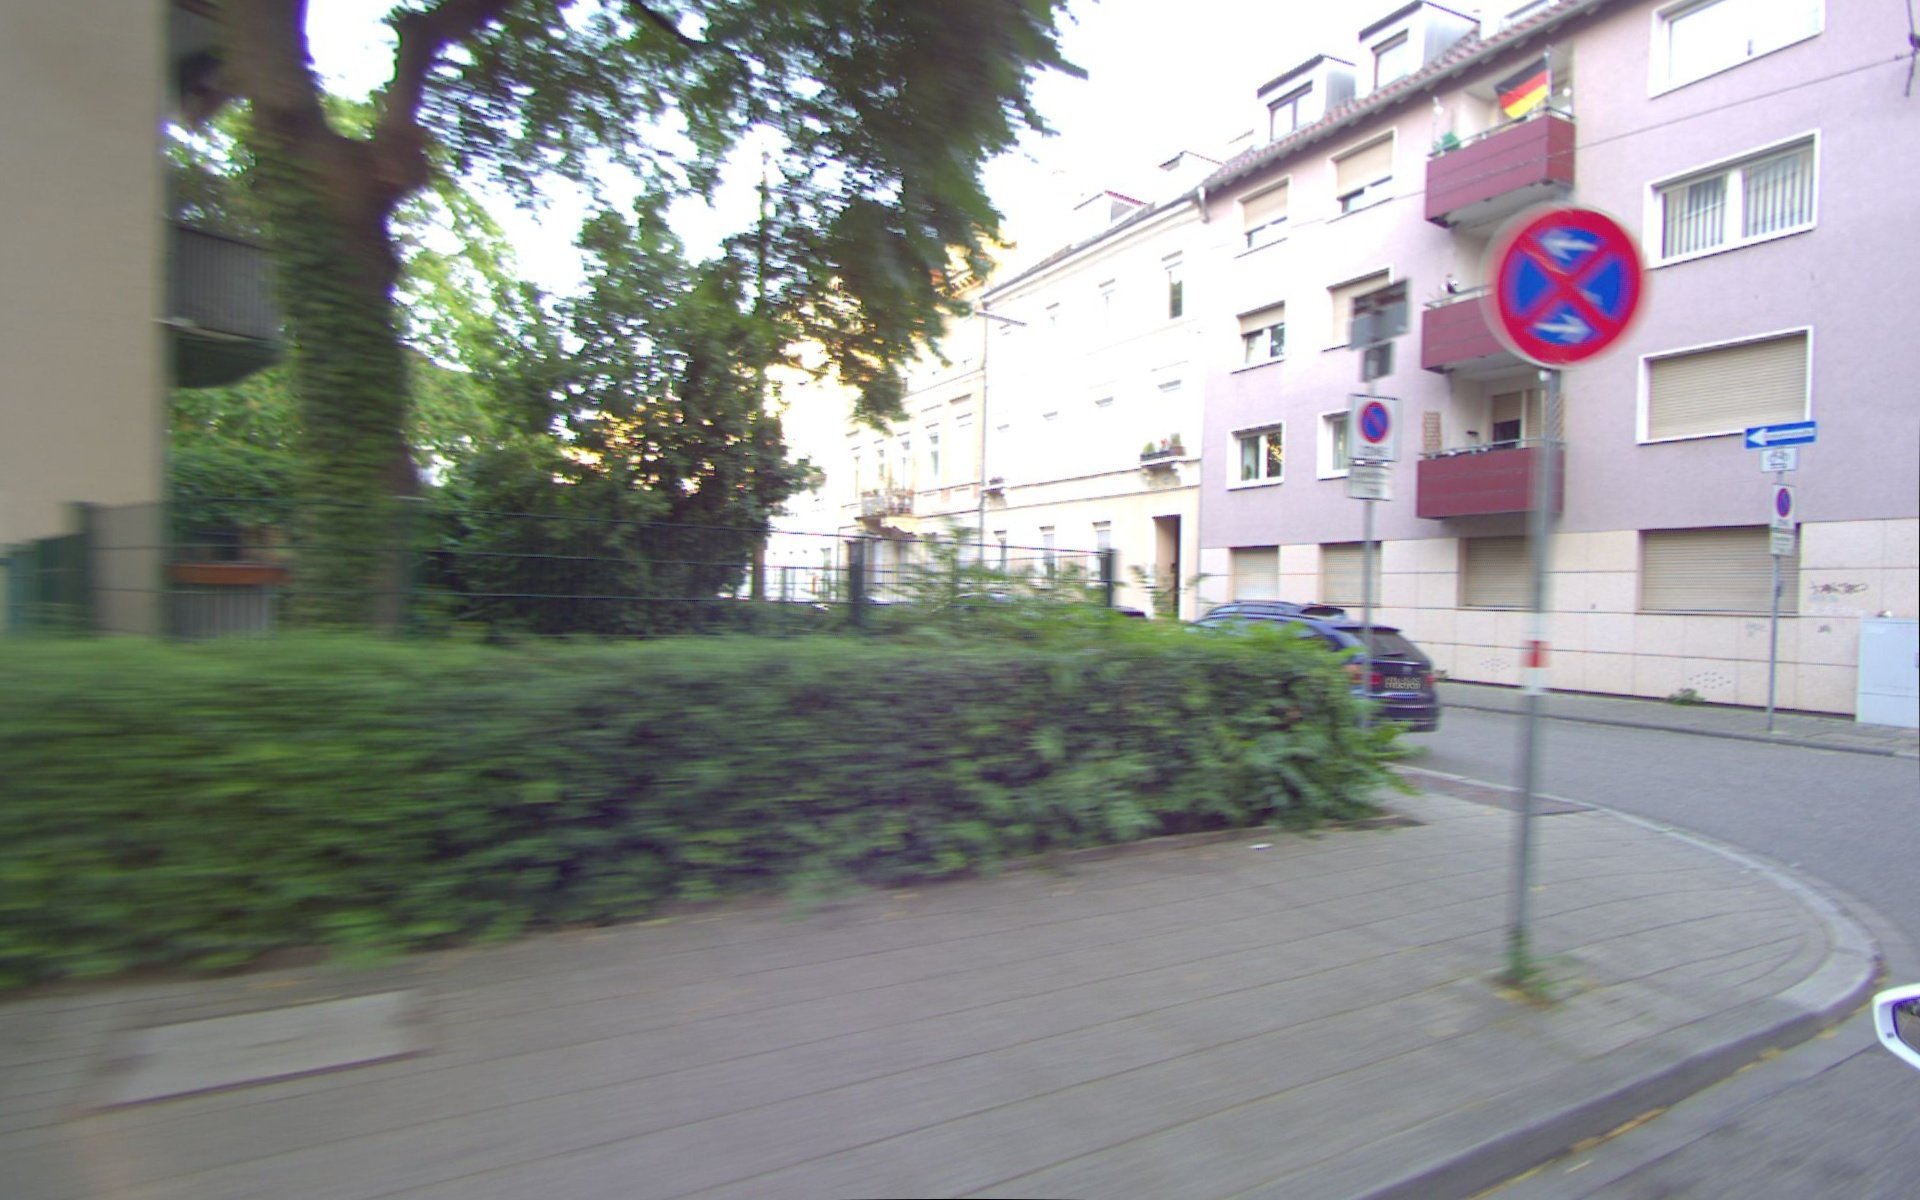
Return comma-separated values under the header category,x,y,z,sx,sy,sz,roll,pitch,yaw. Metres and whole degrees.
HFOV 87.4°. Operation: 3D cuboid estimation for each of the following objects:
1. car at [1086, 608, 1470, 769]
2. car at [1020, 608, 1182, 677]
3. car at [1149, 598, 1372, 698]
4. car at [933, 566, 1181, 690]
category,x,y,z,sx,sy,sz,roll,pitch,yaw
car,3.501,0.873,11.900,1.667,1.477,4.322,1,0,-31
car,3.277,0.949,23.935,1.743,1.467,3.809,1,0,-33
car,5.569,0.848,19.047,1.776,1.677,3.813,3,-1,-31
car,1.338,0.349,15.783,1.805,1.662,4.352,0,1,-28
